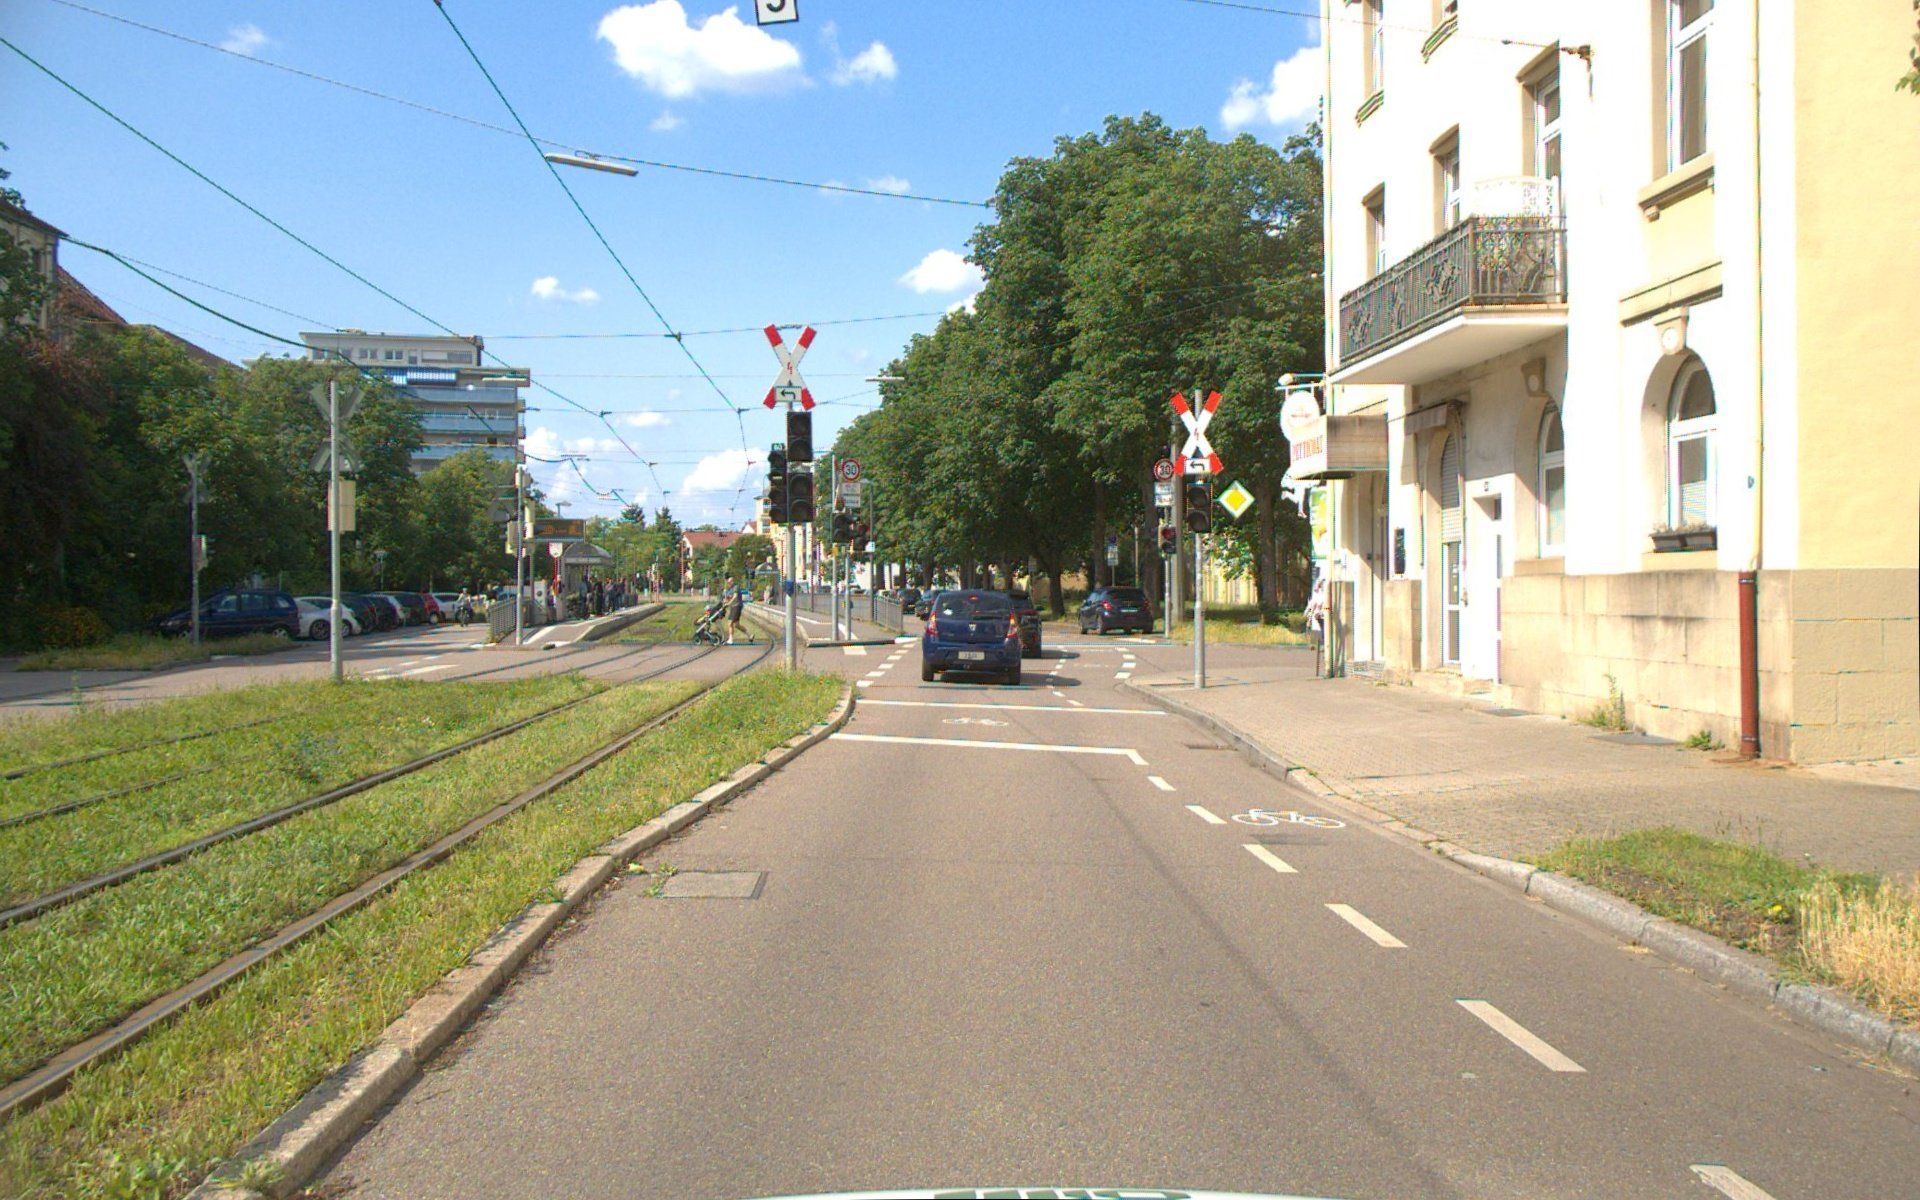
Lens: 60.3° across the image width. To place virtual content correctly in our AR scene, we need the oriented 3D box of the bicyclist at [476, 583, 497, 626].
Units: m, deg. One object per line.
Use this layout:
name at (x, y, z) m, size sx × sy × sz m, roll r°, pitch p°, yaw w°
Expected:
bicyclist at (-23.473, 0.223, 81.990) m, size 0.932 × 2.048 × 1.569 m, roll -2°, pitch 1°, yaw -16°

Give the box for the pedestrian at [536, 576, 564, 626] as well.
pedestrian at (-14.512, 0.032, 58.549) m, size 0.699 × 1.756 × 0.666 m, roll 0°, pitch 0°, yaw 34°

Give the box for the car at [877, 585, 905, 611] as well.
car at (-4.777, -0.135, 114.645) m, size 1.587 × 1.780 × 3.993 m, roll -1°, pitch 0°, yaw -8°

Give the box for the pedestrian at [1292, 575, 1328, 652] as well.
pedestrian at (7.815, 0.296, 36.921) m, size 0.658 × 1.677 × 0.764 m, roll -1°, pitch 0°, yaw 20°

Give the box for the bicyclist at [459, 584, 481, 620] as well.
bicyclist at (-22.093, 0.096, 74.553) m, size 0.770 × 1.609 × 0.863 m, roll -1°, pitch 0°, yaw -5°

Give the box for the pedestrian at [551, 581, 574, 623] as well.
pedestrian at (-15.270, 0.083, 63.560) m, size 0.650 × 1.597 × 0.685 m, roll -2°, pitch 0°, yaw -1°

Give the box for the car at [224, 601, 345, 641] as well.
car at (-22.178, 0.671, 54.375) m, size 1.517 × 1.258 × 3.368 m, roll 0°, pitch 0°, yaw 42°

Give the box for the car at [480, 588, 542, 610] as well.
car at (-30.571, -0.066, 112.738) m, size 1.607 × 1.410 × 3.985 m, roll 0°, pitch 0°, yaw 36°

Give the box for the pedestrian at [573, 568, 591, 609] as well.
pedestrian at (-16.003, -0.486, 70.008) m, size 0.642 × 1.722 × 0.655 m, roll -1°, pitch 0°, yaw -8°

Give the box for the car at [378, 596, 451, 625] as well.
car at (-26.789, 0.512, 81.282) m, size 1.427 × 1.332 × 3.235 m, roll 0°, pitch 0°, yaw 36°

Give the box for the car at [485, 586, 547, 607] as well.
car at (-31.657, -0.269, 117.881) m, size 3.968 × 1.472 × 1.701 m, roll -1°, pitch 1°, yaw -43°

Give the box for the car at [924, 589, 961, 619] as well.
car at (-0.947, 0.174, 88.183) m, size 1.814 × 1.542 × 3.998 m, roll -1°, pitch 0°, yaw -3°

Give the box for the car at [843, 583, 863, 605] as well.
car at (-8.985, -0.539, 139.166) m, size 1.634 × 1.803 × 3.996 m, roll -1°, pitch 0°, yaw -4°

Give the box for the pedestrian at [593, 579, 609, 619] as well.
pedestrian at (-16.318, -0.046, 75.201) m, size 0.592 × 1.797 × 0.639 m, roll -1°, pitch 0°, yaw 1°

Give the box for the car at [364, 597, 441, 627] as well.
car at (-26.258, 0.537, 77.907) m, size 1.427 × 1.332 × 3.235 m, roll 0°, pitch 0°, yaw 36°

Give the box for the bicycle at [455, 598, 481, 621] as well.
bicycle at (-22.225, 0.438, 74.705) m, size 0.667 × 0.988 × 2.176 m, roll -1°, pitch 0°, yaw -5°

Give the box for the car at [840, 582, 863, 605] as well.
car at (-8.712, -0.497, 133.058) m, size 1.794 × 1.792 × 3.998 m, roll -1°, pitch 0°, yaw -3°

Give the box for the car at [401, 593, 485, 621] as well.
car at (-27.417, 0.364, 87.795) m, size 1.684 × 1.391 × 3.979 m, roll -1°, pitch 1°, yaw 40°

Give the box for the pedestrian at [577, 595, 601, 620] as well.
pedestrian at (-15.954, 0.330, 71.199) m, size 0.907 × 1.006 × 0.796 m, roll -2°, pitch -1°, yaw -7°

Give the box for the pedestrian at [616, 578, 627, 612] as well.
pedestrian at (-20.100, -0.302, 98.219) m, size 0.649 × 2.049 × 0.801 m, roll -1°, pitch 0°, yaw -14°

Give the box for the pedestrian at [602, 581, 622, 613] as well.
pedestrian at (-15.943, -0.152, 75.838) m, size 0.642 × 1.451 × 0.562 m, roll -1°, pitch 0°, yaw 29°

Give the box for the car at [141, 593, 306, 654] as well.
car at (-21.581, 0.651, 48.579) m, size 1.695 × 1.669 × 4.108 m, roll 0°, pitch 0°, yaw 42°

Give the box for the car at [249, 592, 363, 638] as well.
car at (-22.787, 0.496, 57.688) m, size 1.518 × 1.531 × 3.366 m, roll -1°, pitch 0°, yaw 44°

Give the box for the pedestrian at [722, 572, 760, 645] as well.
pedestrian at (-5.697, 0.217, 43.092) m, size 0.854 × 1.806 × 1.002 m, roll -4°, pitch 0°, yaw -7°

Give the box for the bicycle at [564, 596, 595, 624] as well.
bicycle at (-14.527, 0.363, 63.217) m, size 0.672 × 0.991 × 1.771 m, roll -3°, pitch 1°, yaw 2°

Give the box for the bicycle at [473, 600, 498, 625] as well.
bicycle at (-23.515, 0.619, 82.028) m, size 1.135 × 1.198 × 1.780 m, roll -2°, pitch 0°, yaw -15°

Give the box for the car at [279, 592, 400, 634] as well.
car at (-23.574, 0.473, 62.941) m, size 1.660 × 1.482 × 3.977 m, roll -1°, pitch 1°, yaw 41°

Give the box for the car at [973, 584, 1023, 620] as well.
car at (1.621, 0.062, 72.173) m, size 1.824 × 1.470 × 3.998 m, roll -2°, pitch 1°, yaw -3°

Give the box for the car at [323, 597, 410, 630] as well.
car at (-24.715, 0.546, 68.956) m, size 1.426 × 1.332 × 3.237 m, roll 0°, pitch 0°, yaw 33°

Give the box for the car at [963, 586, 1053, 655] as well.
car at (1.024, 0.409, 36.788) m, size 1.666 × 1.391 × 3.512 m, roll -2°, pitch 1°, yaw -3°

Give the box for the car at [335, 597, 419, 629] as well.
car at (-25.238, 0.545, 71.690) m, size 1.427 × 1.332 × 3.235 m, roll 0°, pitch 0°, yaw 36°

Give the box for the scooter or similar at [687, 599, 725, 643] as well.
scooter or similar at (-6.546, 0.535, 42.649) m, size 0.936 × 1.083 × 0.795 m, roll -1°, pitch 0°, yaw -9°

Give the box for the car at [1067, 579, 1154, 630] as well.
car at (4.607, 0.115, 51.172) m, size 1.733 × 1.458 × 3.896 m, roll -1°, pitch 0°, yaw -9°

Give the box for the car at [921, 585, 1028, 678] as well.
car at (0.213, 0.498, 28.738) m, size 1.732 × 1.487 × 3.775 m, roll 1°, pitch 1°, yaw -1°

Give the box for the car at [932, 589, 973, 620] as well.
car at (-0.401, 0.222, 83.485) m, size 1.824 × 1.470 × 3.998 m, roll -2°, pitch 1°, yaw -3°
